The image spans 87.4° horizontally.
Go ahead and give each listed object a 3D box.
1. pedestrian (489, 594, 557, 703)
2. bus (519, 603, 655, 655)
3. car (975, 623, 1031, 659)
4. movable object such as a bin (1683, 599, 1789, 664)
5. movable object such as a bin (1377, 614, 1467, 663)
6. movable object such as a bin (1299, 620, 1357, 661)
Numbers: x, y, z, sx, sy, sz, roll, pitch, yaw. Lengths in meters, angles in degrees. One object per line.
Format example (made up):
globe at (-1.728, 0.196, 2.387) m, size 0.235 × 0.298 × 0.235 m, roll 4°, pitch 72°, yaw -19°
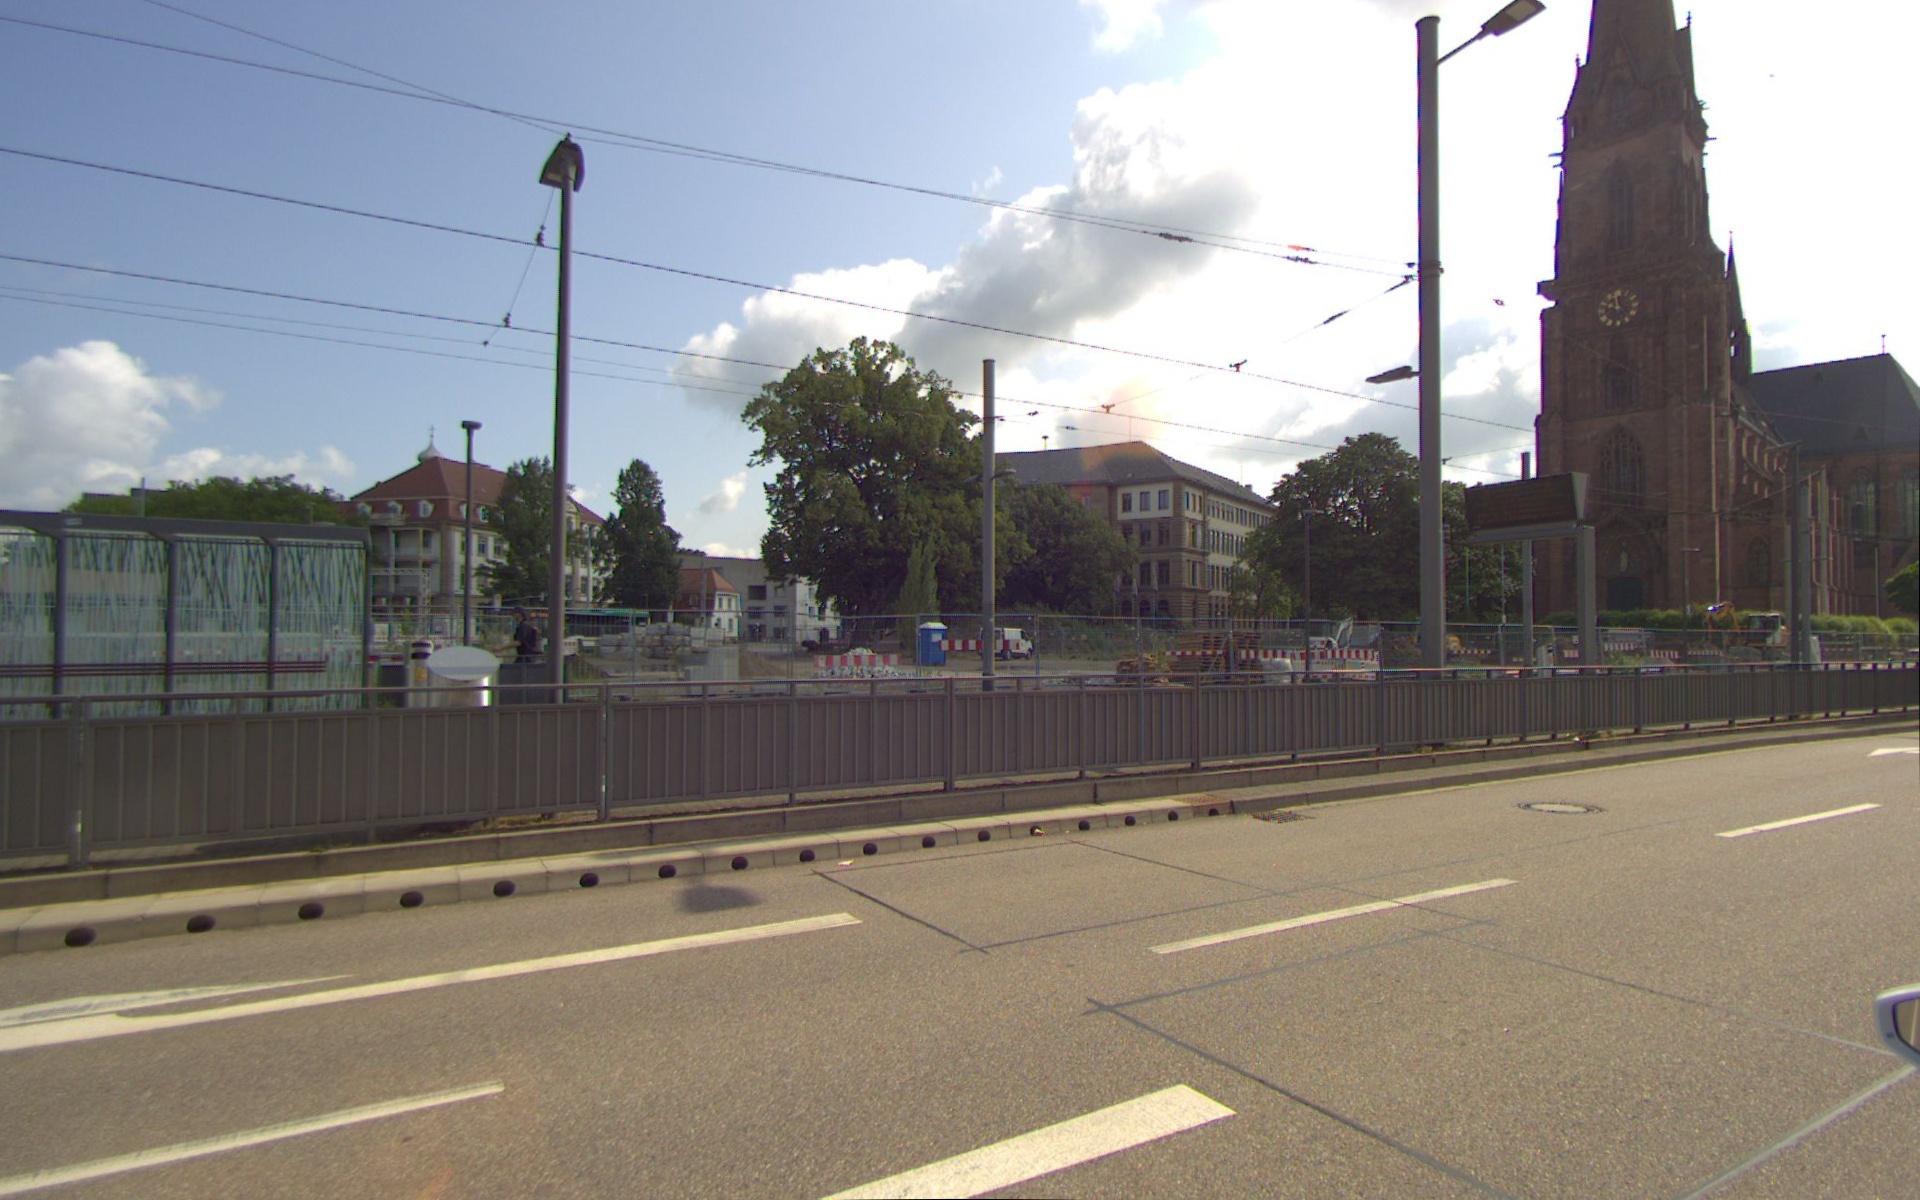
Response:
pedestrian at (-7.630, 0.815, 17.557) m, size 1.032 × 1.824 × 0.994 m, roll -1°, pitch 1°, yaw -24°
bus at (-27.230, 2.189, 74.343) m, size 2.905 × 3.554 × 12.262 m, roll 0°, pitch -2°, yaw 14°
car at (2.707, 2.591, 62.814) m, size 1.963 × 2.040 × 3.996 m, roll 1°, pitch -3°, yaw 27°
movable object such as a bin at (46.289, 1.863, 59.959) m, size 5.513 × 3.780 × 2.660 m, roll 1°, pitch -1°, yaw -23°
movable object such as a bin at (28.305, 2.315, 61.707) m, size 1.976 × 2.839 × 4.882 m, roll 1°, pitch -1°, yaw -29°
movable object such as a bin at (20.925, 2.239, 57.006) m, size 1.968 × 2.235 × 4.256 m, roll 0°, pitch -1°, yaw 37°
